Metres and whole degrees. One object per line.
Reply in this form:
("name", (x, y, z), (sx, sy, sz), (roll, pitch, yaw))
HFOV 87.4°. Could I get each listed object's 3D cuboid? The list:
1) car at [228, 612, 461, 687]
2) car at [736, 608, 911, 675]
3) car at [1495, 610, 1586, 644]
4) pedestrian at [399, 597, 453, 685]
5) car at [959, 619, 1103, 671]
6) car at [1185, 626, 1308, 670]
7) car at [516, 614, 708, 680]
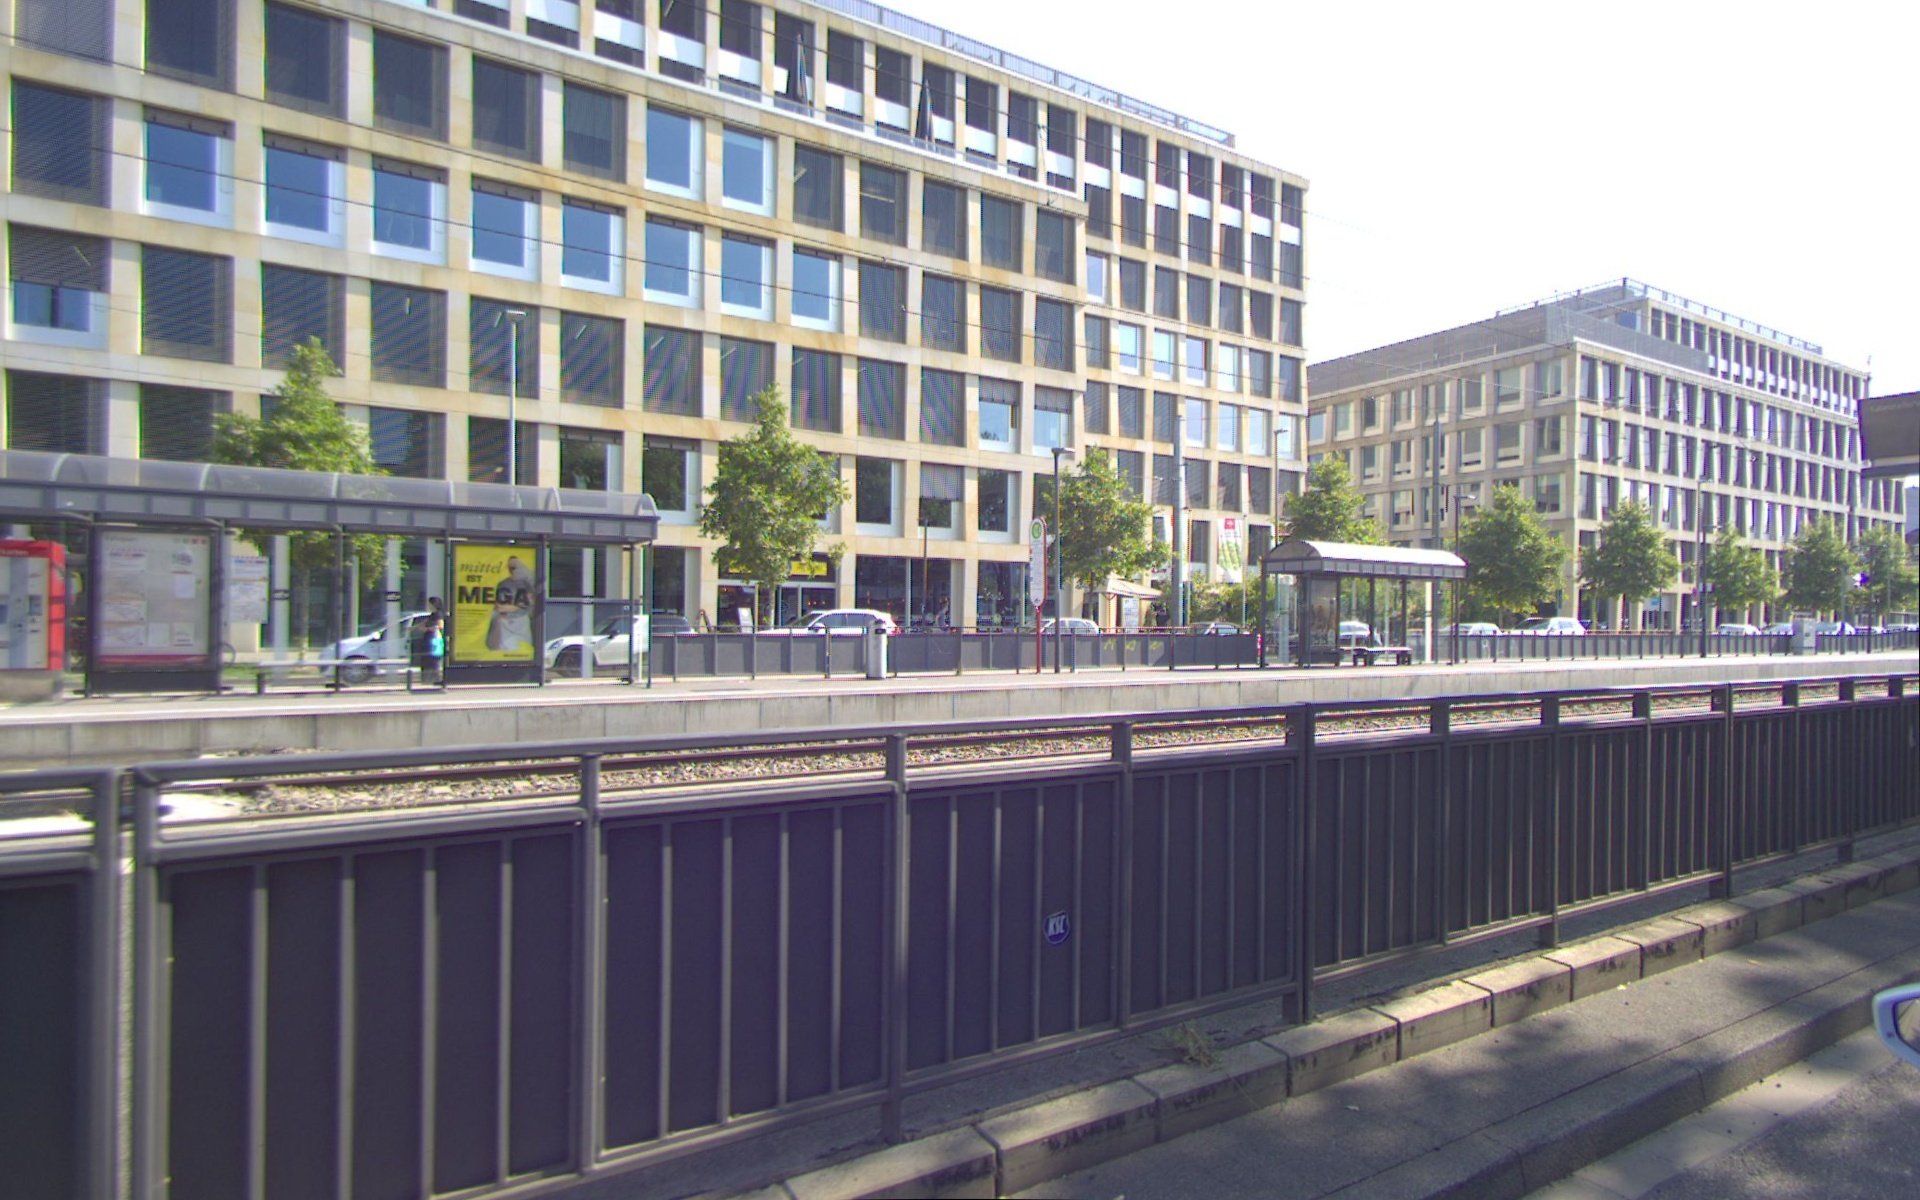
("car", (-12.673, 0.978, 20.901), (3.955, 1.422, 1.891), (1, -1, -32))
("car", (-3.579, 1.076, 26.587), (4.274, 1.647, 1.779), (1, -1, -34))
("car", (25.678, 1.201, 44.409), (4.322, 1.426, 1.675), (1, -1, -32))
("pedestrian", (-10.579, 0.795, 19.932), (0.867, 1.699, 0.835), (1, -1, -24))
("car", (2.104, 1.279, 29.391), (3.955, 1.426, 1.780), (1, -1, -32))
("car", (9.935, 1.623, 34.718), (4.324, 1.426, 1.675), (1, -1, -32))
("car", (-8.122, 1.068, 23.527), (3.955, 1.422, 1.891), (1, -1, -32))
